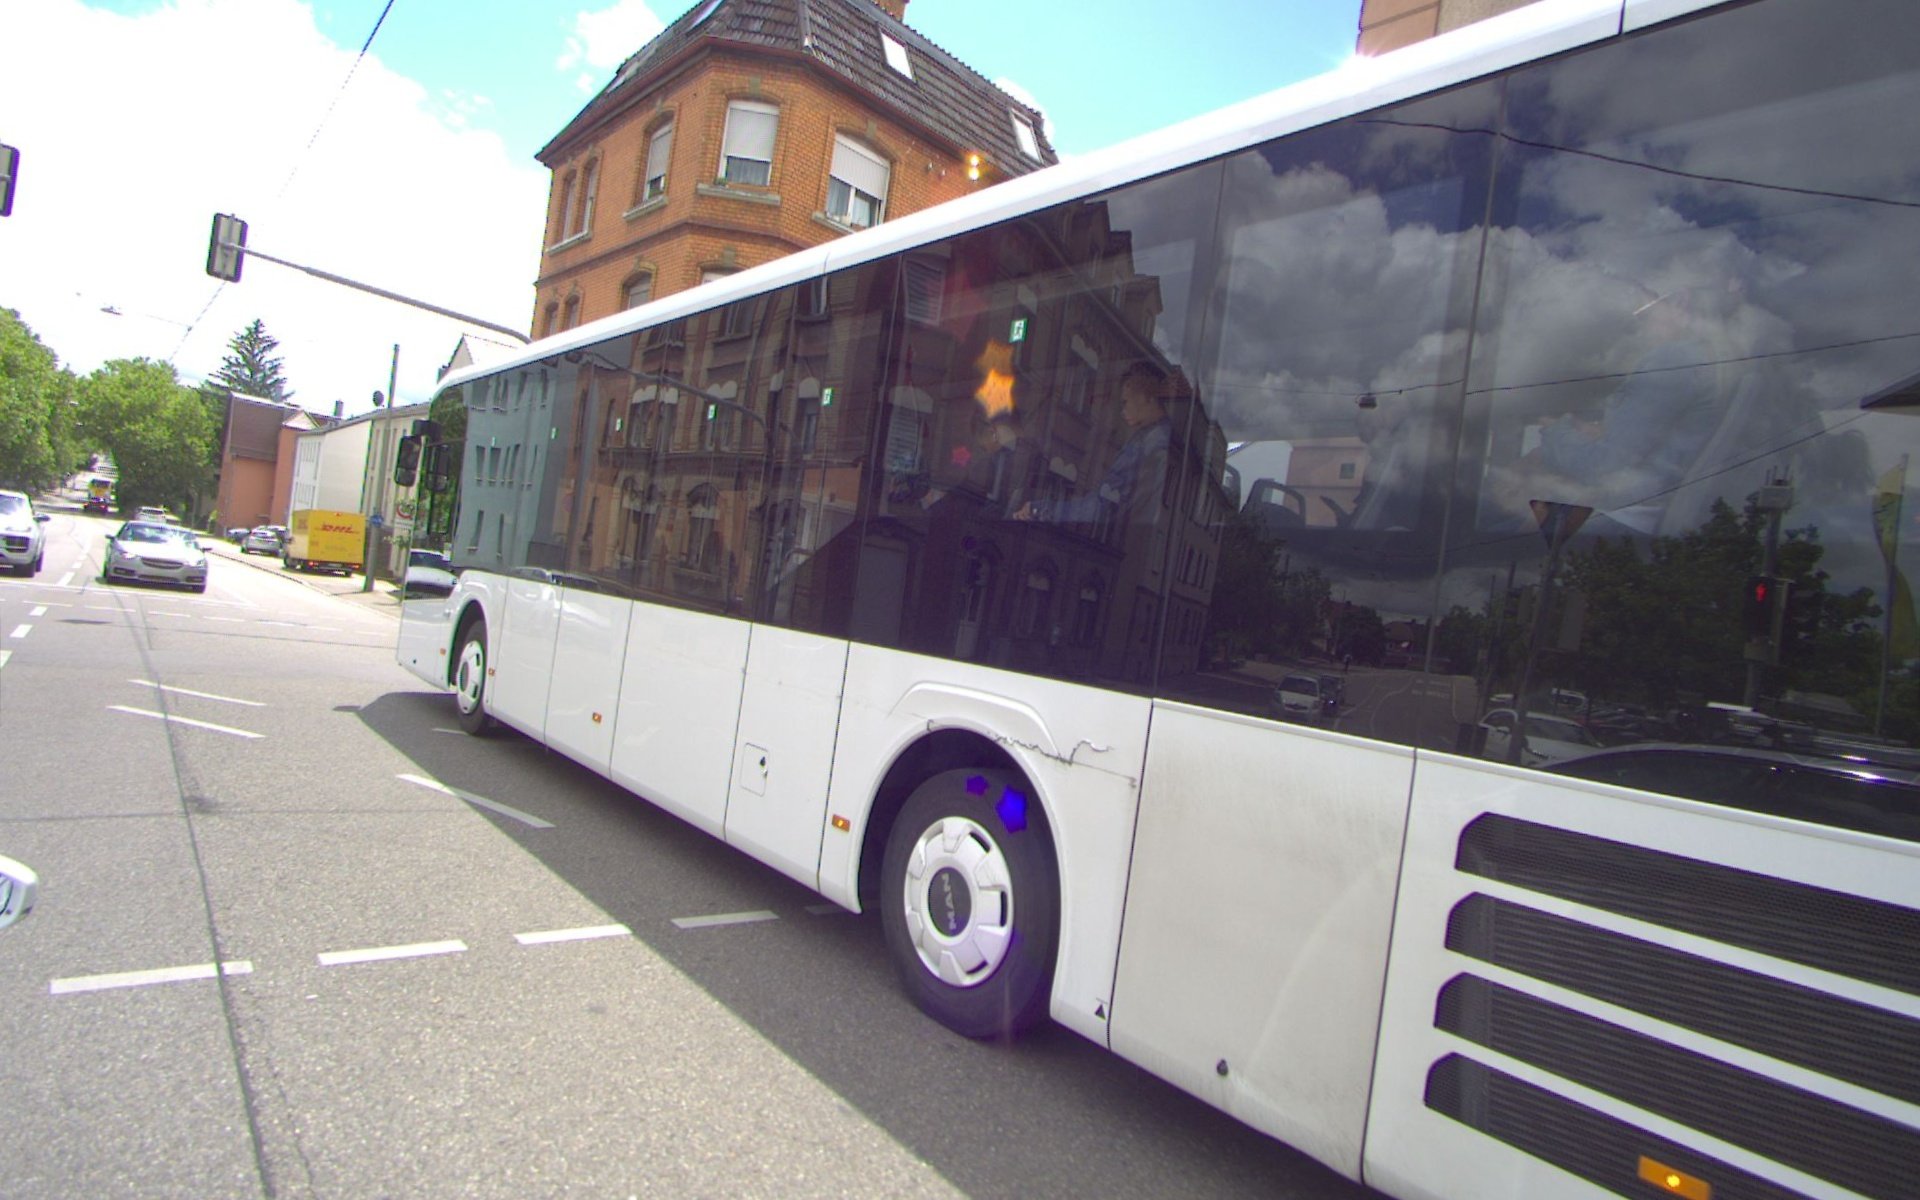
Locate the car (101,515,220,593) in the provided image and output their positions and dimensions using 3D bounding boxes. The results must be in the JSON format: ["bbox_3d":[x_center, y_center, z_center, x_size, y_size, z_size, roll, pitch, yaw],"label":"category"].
[{"bbox_3d":[-18.287,-1.093,22.940,1.858,1.384,4.495,7,-1,-41],"label":"car"}]

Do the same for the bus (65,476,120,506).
[{"bbox_3d":[-132.399,-16.665,153.424,11.063,3.676,3.302,7,0,34],"label":"bus"}]

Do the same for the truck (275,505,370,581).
[{"bbox_3d":[-29.592,-2.680,46.577,2.533,2.947,6.497,9,-2,-41],"label":"truck"}]

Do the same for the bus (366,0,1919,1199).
[{"bbox_3d":[-0.695,-0.334,6.530,2.895,3.551,12.343,8,-2,-41],"label":"bus"}]

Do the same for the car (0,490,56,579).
[{"bbox_3d":[-20.172,-1.493,20.621,2.199,1.633,4.495,7,-1,-41],"label":"car"}]

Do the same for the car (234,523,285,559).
[{"bbox_3d":[-43.210,-3.663,62.015,1.905,1.838,3.951,8,-1,-43],"label":"car"}]

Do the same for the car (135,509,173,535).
[{"bbox_3d":[-69.669,-6.764,86.915,2.086,1.852,4.091,8,-1,-44],"label":"car"}]

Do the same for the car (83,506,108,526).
[{"bbox_3d":[-92.221,-8.935,107.330,1.812,1.806,3.954,7,0,-41],"label":"car"}]
